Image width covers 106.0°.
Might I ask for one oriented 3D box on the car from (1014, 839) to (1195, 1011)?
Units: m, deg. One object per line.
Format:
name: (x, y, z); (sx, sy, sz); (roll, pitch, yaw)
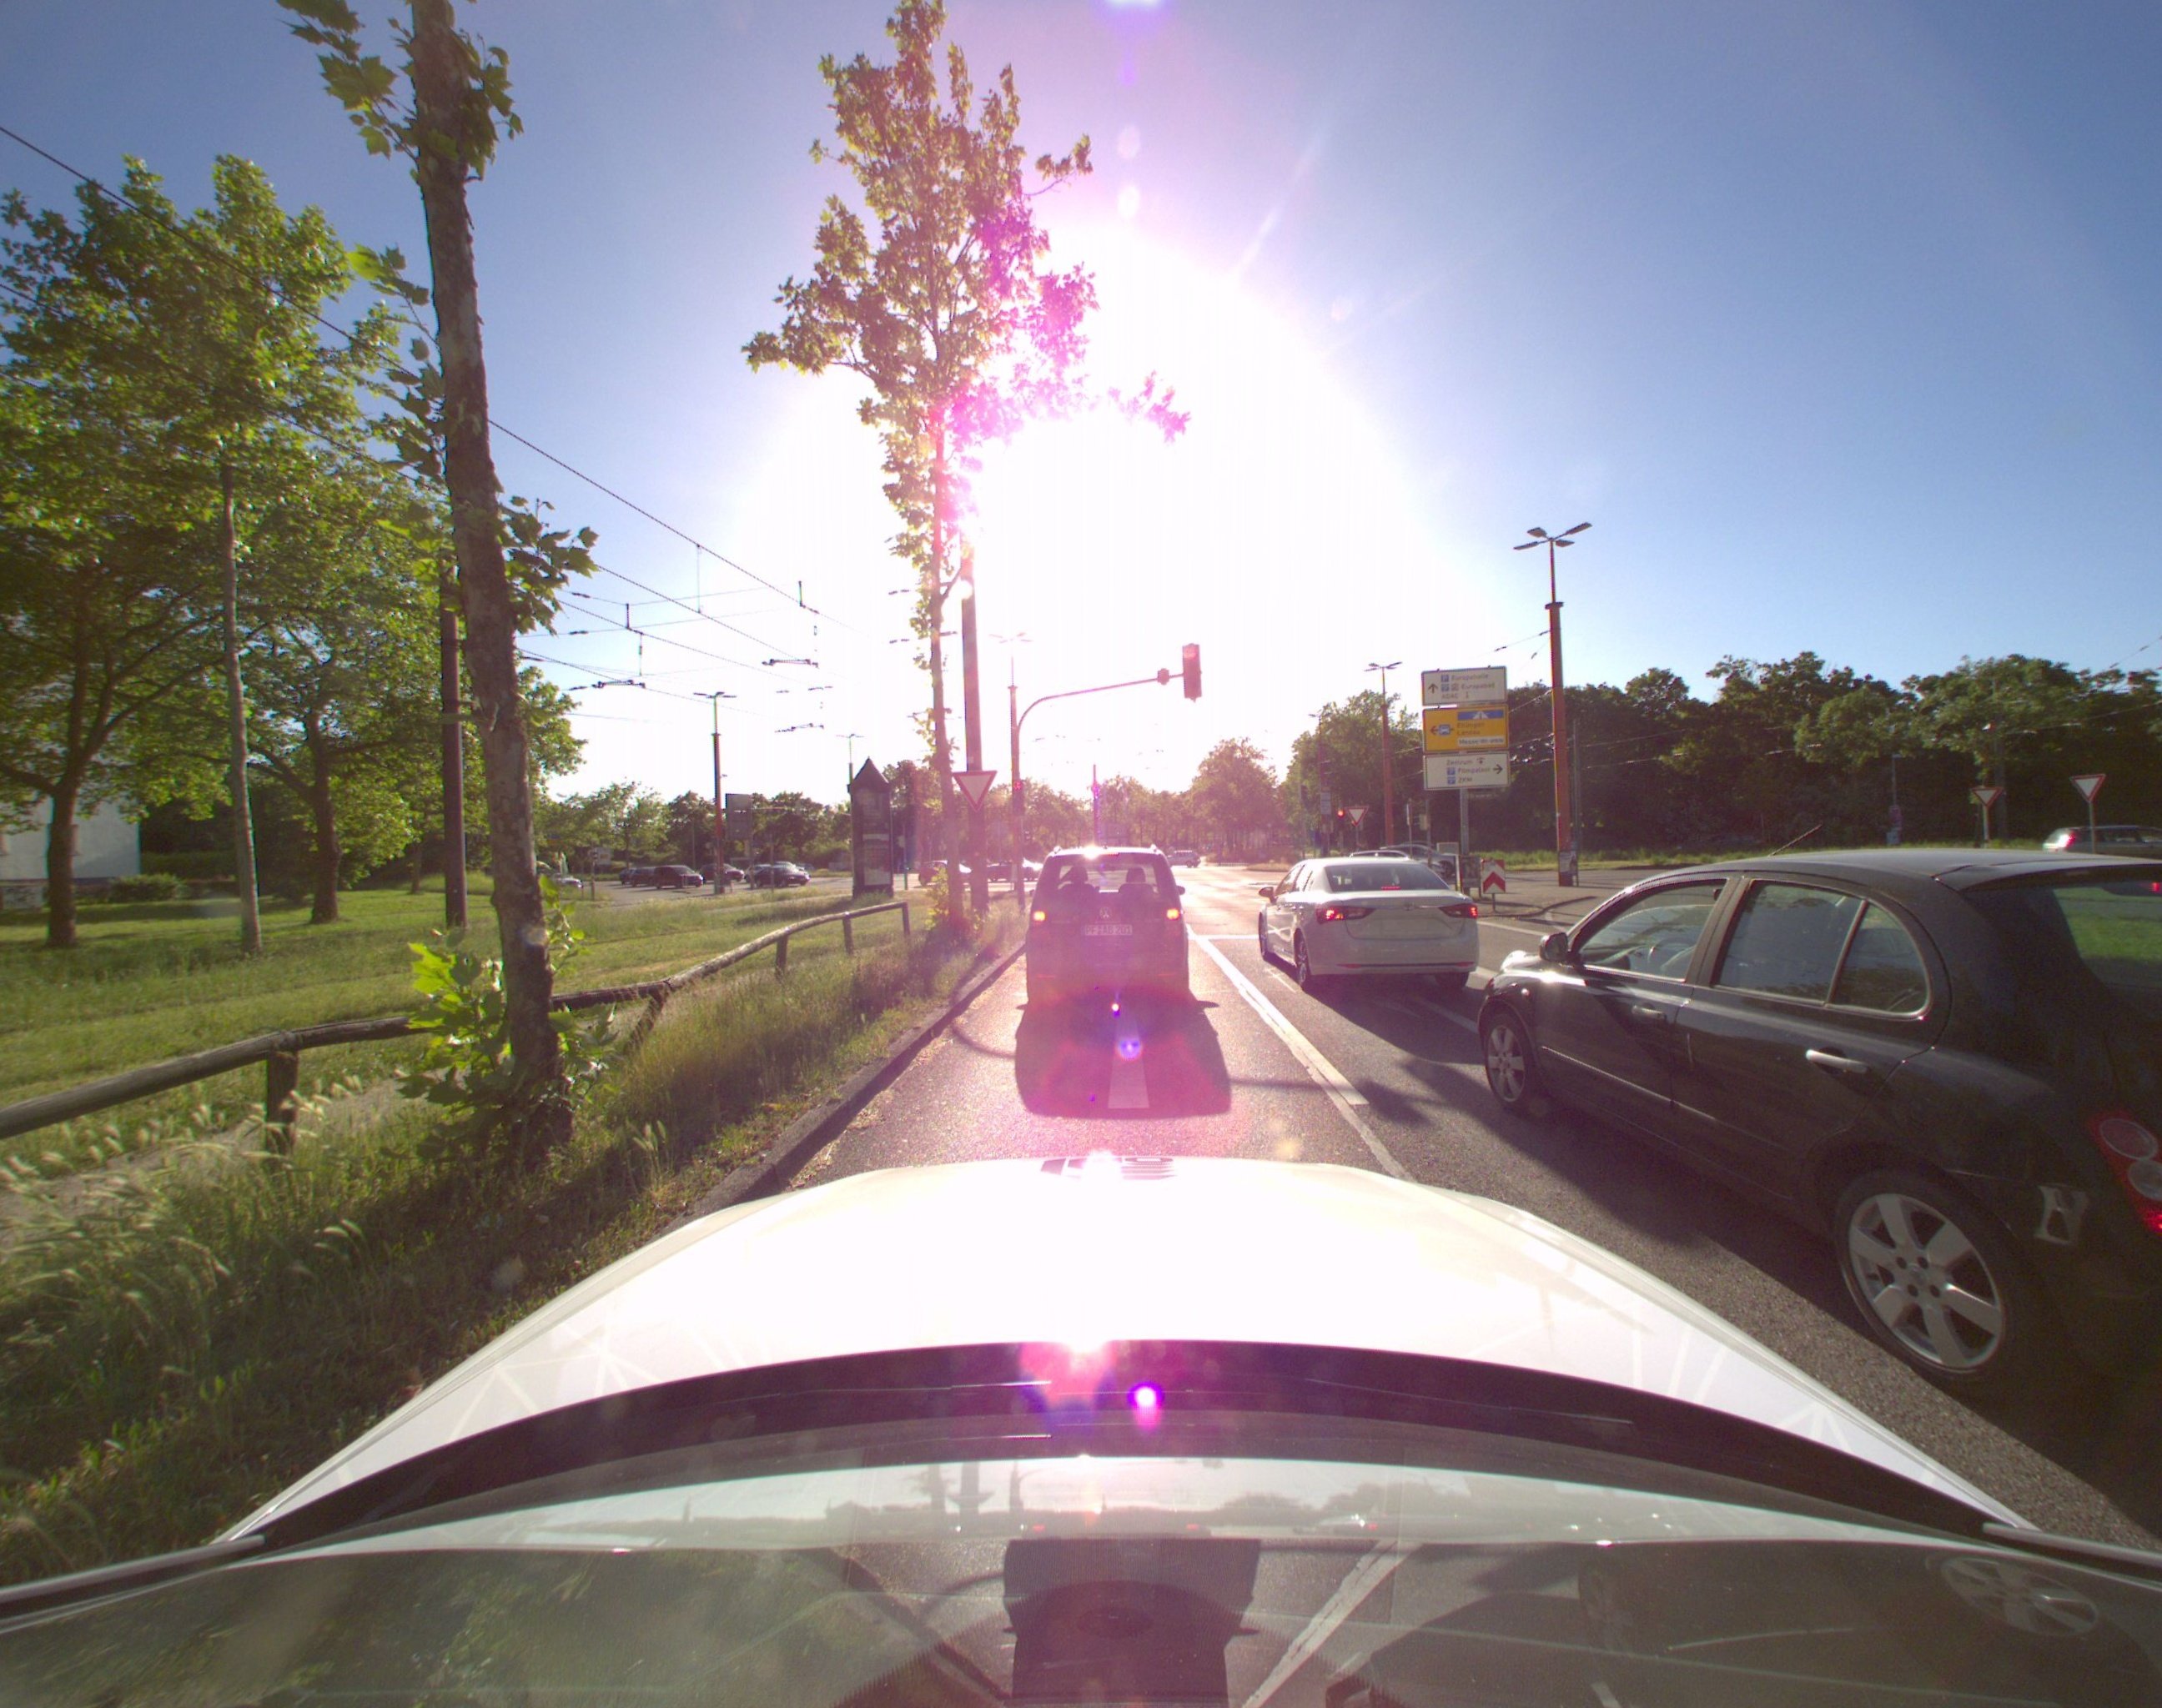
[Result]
car: (0.295, 0.696, 9.995); (1.731, 1.641, 4.002); (-2, 0, 2)

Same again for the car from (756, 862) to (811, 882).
car: (-23.321, 1.430, 63.812); (4.179, 1.479, 1.765); (-2, 0, 32)

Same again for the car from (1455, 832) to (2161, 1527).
car: (3.167, 0.694, 3.519); (1.550, 1.506, 3.517); (-2, 0, 2)

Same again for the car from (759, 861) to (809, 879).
car: (-26.536, 1.448, 72.661); (4.169, 1.464, 1.926); (-2, 0, 29)

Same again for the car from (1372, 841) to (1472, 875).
car: (16.785, 0.199, 40.143); (4.309, 1.581, 1.782); (-2, 0, 30)

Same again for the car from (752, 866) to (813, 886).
car: (-21.371, 1.578, 58.295); (4.263, 1.327, 1.772); (-2, 0, 31)

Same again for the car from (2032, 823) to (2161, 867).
car: (34.125, -0.302, 26.466); (3.807, 1.355, 1.733); (-2, 0, 29)

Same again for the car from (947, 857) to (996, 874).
car: (-10.932, 1.160, 81.348); (4.411, 1.596, 2.012); (-2, 0, 28)

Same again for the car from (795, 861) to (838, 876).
car: (-30.704, 1.706, 94.534); (4.412, 1.596, 2.012); (-2, 0, 25)

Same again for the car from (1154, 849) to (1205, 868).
car: (8.632, 0.407, 71.409); (3.949, 1.580, 2.012); (-2, 0, 29)

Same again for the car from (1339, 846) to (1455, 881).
car: (14.564, 0.454, 37.662); (4.709, 1.494, 1.782); (-2, 0, 31)

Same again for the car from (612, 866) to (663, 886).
car: (-39.106, 1.971, 71.782); (4.507, 1.668, 1.854); (-2, 0, 30)

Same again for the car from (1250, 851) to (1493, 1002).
car: (3.296, 0.719, 10.123); (1.708, 1.454, 4.147); (-2, 0, 3)

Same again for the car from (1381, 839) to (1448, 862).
car: (25.088, -0.248, 61.324); (4.411, 1.596, 2.012); (-2, 0, 28)

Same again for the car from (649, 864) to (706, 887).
car: (-32.071, 1.705, 64.744); (4.303, 1.732, 1.854); (-2, 0, 27)

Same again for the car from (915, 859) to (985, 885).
car: (-8.121, 1.120, 50.383); (3.949, 1.494, 1.782); (-2, 0, 29)

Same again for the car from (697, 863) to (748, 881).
car: (-31.722, 1.569, 72.076); (4.318, 1.464, 1.926); (-2, 0, 29)

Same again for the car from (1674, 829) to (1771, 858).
car: (39.671, -0.625, 50.528); (4.411, 1.596, 2.012); (-2, 0, 28)

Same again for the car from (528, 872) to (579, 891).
car: (-47.194, 2.460, 72.872); (4.866, 1.575, 2.013); (-2, 0, 33)

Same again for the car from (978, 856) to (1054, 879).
car: (-4.215, 0.892, 52.591); (4.608, 1.362, 1.782); (-2, 0, 31)

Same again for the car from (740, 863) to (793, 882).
car: (-26.774, 1.591, 69.256); (4.169, 1.464, 1.926); (-2, 0, 29)

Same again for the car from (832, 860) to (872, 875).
car: (-27.327, 1.604, 97.329); (4.411, 1.596, 2.012); (-2, 0, 28)
